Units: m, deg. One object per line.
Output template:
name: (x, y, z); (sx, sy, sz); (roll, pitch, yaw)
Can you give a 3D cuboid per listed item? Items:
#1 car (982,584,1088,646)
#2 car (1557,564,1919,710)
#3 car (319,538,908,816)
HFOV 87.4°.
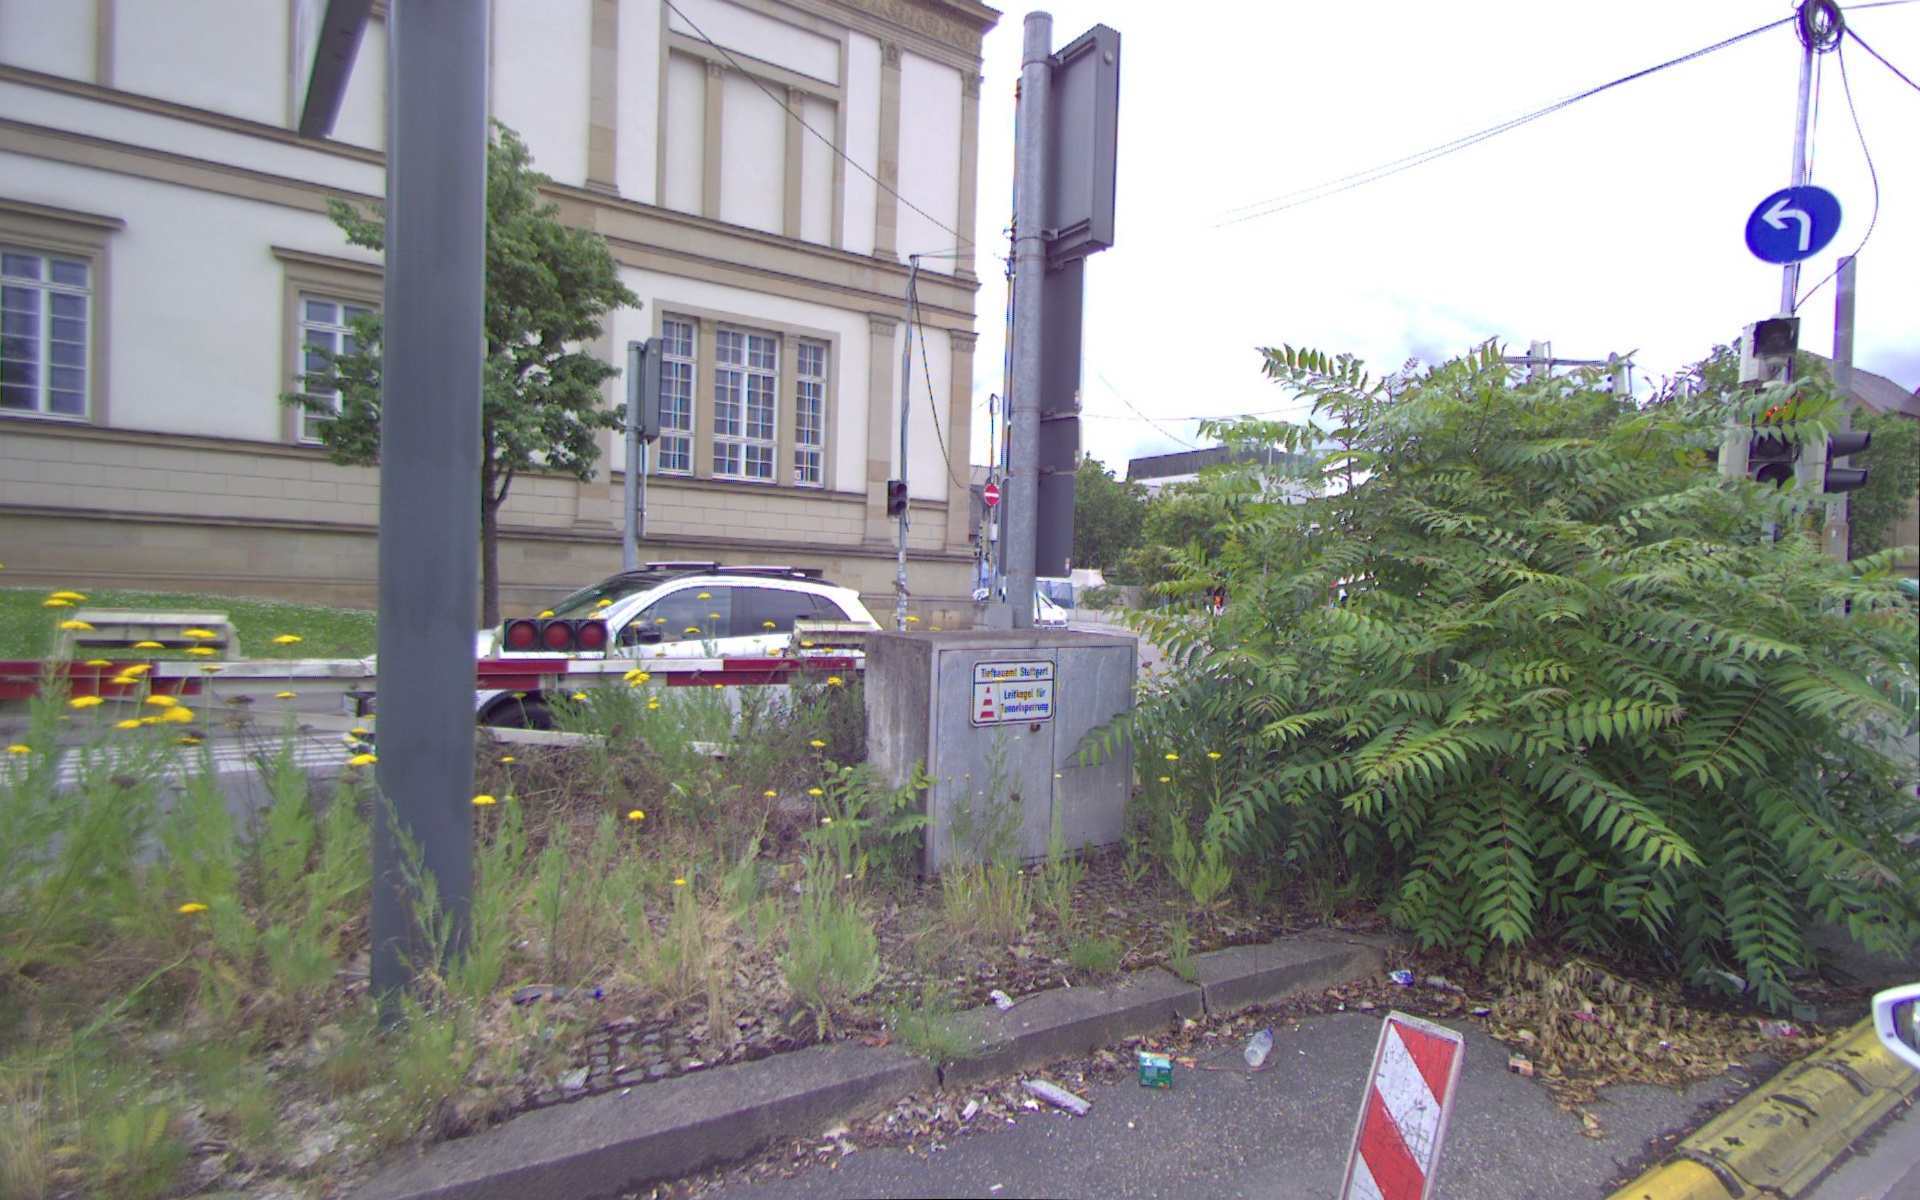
car: (2.283, 0.399, 31.618); (1.810, 1.769, 3.980); (0, 2, -21)
car: (14.797, 0.585, 18.872); (2.280, 2.336, 5.723); (2, 0, -34)
car: (-2.555, 0.461, 8.070); (1.879, 1.647, 4.082); (1, 0, 44)
